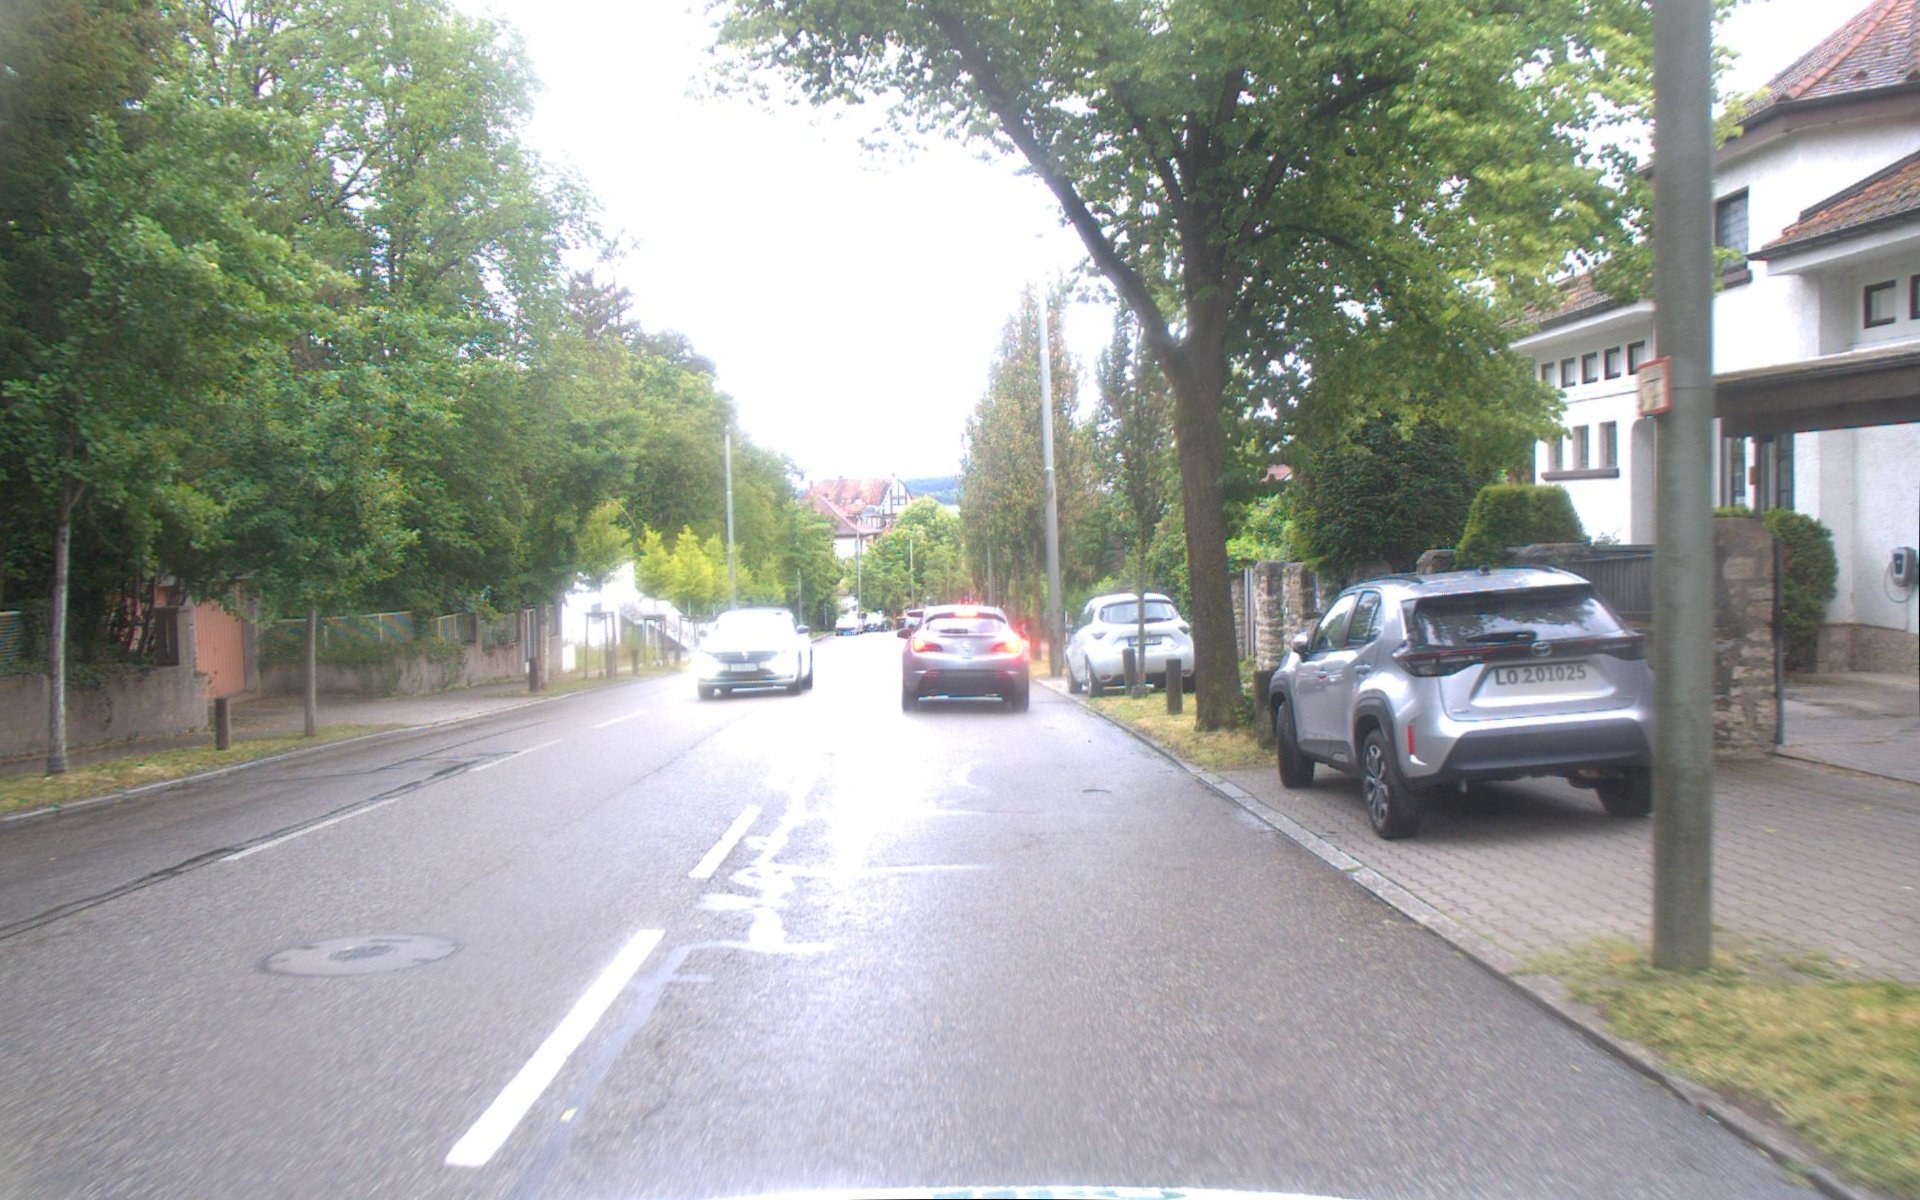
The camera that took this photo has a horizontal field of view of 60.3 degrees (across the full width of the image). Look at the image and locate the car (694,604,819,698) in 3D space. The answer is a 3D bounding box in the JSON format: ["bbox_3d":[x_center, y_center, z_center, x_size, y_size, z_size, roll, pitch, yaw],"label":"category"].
[{"bbox_3d":[-3.554,0.890,29.490,1.757,1.536,4.092,-1,-1,-1],"label":"car"}]

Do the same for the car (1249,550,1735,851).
[{"bbox_3d":[3.387,0.536,11.475,1.879,1.594,4.219,-3,1,-1],"label":"car"}]

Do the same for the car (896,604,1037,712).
[{"bbox_3d":[0.062,0.828,24.389,1.906,1.457,3.883,0,-1,-1],"label":"car"}]

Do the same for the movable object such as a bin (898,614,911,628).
[{"bbox_3d":[-5.636,2.116,168.339,1.245,1.411,0.489,0,0,4],"label":"movable object such as a bin"}]

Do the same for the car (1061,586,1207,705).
[{"bbox_3d":[2.724,0.677,26.765,1.788,1.658,3.999,-4,0,-1],"label":"car"}]

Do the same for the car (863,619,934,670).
[{"bbox_3d":[-1.656,1.215,45.935,1.760,1.346,4.000,0,-1,1],"label":"car"}]

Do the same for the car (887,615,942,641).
[{"bbox_3d":[-3.216,1.949,115.697,1.978,1.713,3.949,2,0,-36],"label":"car"}]

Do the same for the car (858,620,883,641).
[{"bbox_3d":[-7.015,2.365,129.994,1.709,1.576,3.918,2,0,1],"label":"car"}]
